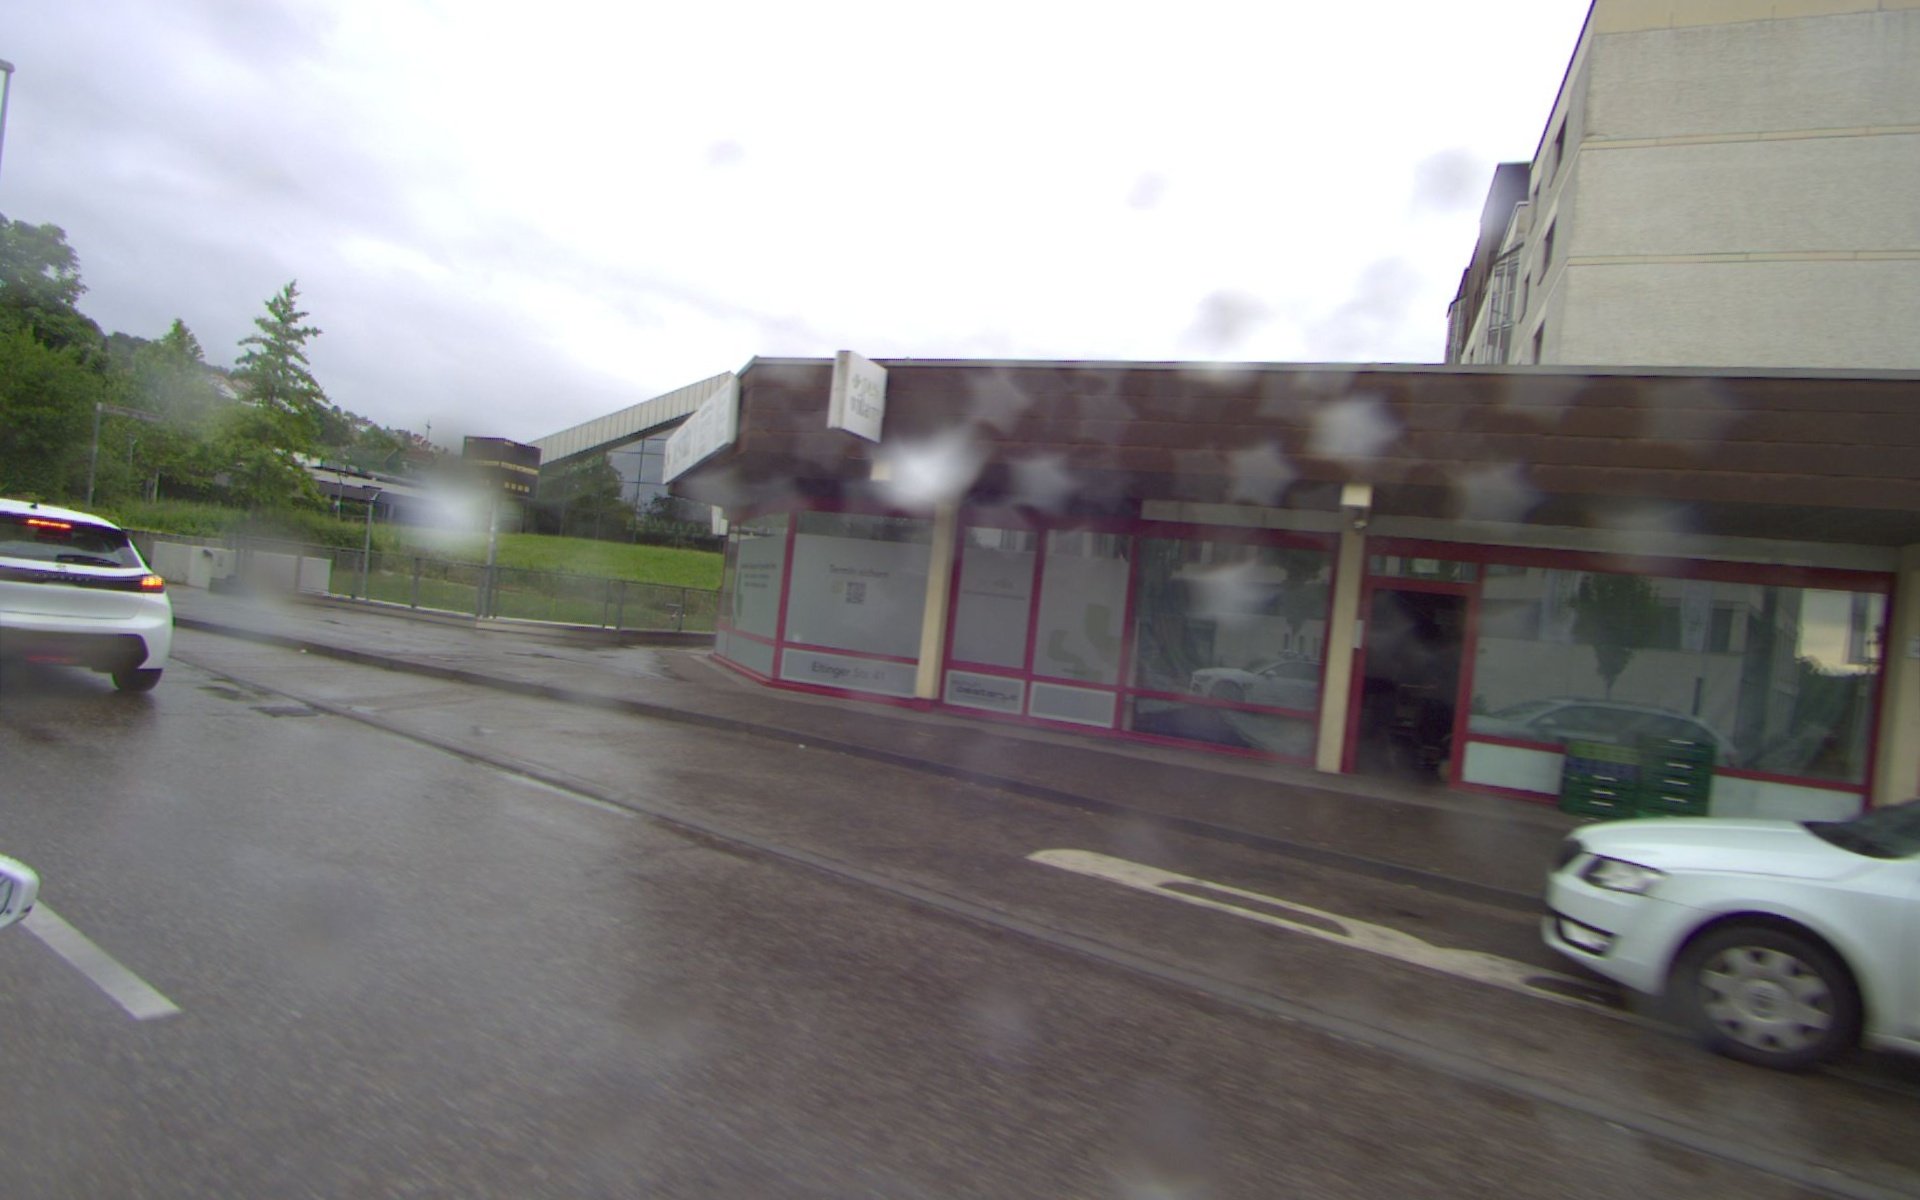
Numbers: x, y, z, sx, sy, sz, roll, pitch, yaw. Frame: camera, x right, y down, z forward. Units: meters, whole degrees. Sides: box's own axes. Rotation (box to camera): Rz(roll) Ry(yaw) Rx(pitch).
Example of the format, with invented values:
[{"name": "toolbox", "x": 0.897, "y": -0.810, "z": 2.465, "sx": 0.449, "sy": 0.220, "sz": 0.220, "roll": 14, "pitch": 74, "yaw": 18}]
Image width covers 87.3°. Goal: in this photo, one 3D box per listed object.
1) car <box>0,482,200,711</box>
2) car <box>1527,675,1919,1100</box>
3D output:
[{"name": "car", "x": -8.396, "y": -0.195, "z": 8.561, "sx": 3.867, "sy": 1.538, "sz": 1.693, "roll": 9, "pitch": 1, "yaw": 32}, {"name": "car", "x": 5.089, "y": 1.386, "z": 4.299, "sx": 4.409, "sy": 1.517, "sz": 1.730, "roll": 7, "pitch": 1, "yaw": 34}]
